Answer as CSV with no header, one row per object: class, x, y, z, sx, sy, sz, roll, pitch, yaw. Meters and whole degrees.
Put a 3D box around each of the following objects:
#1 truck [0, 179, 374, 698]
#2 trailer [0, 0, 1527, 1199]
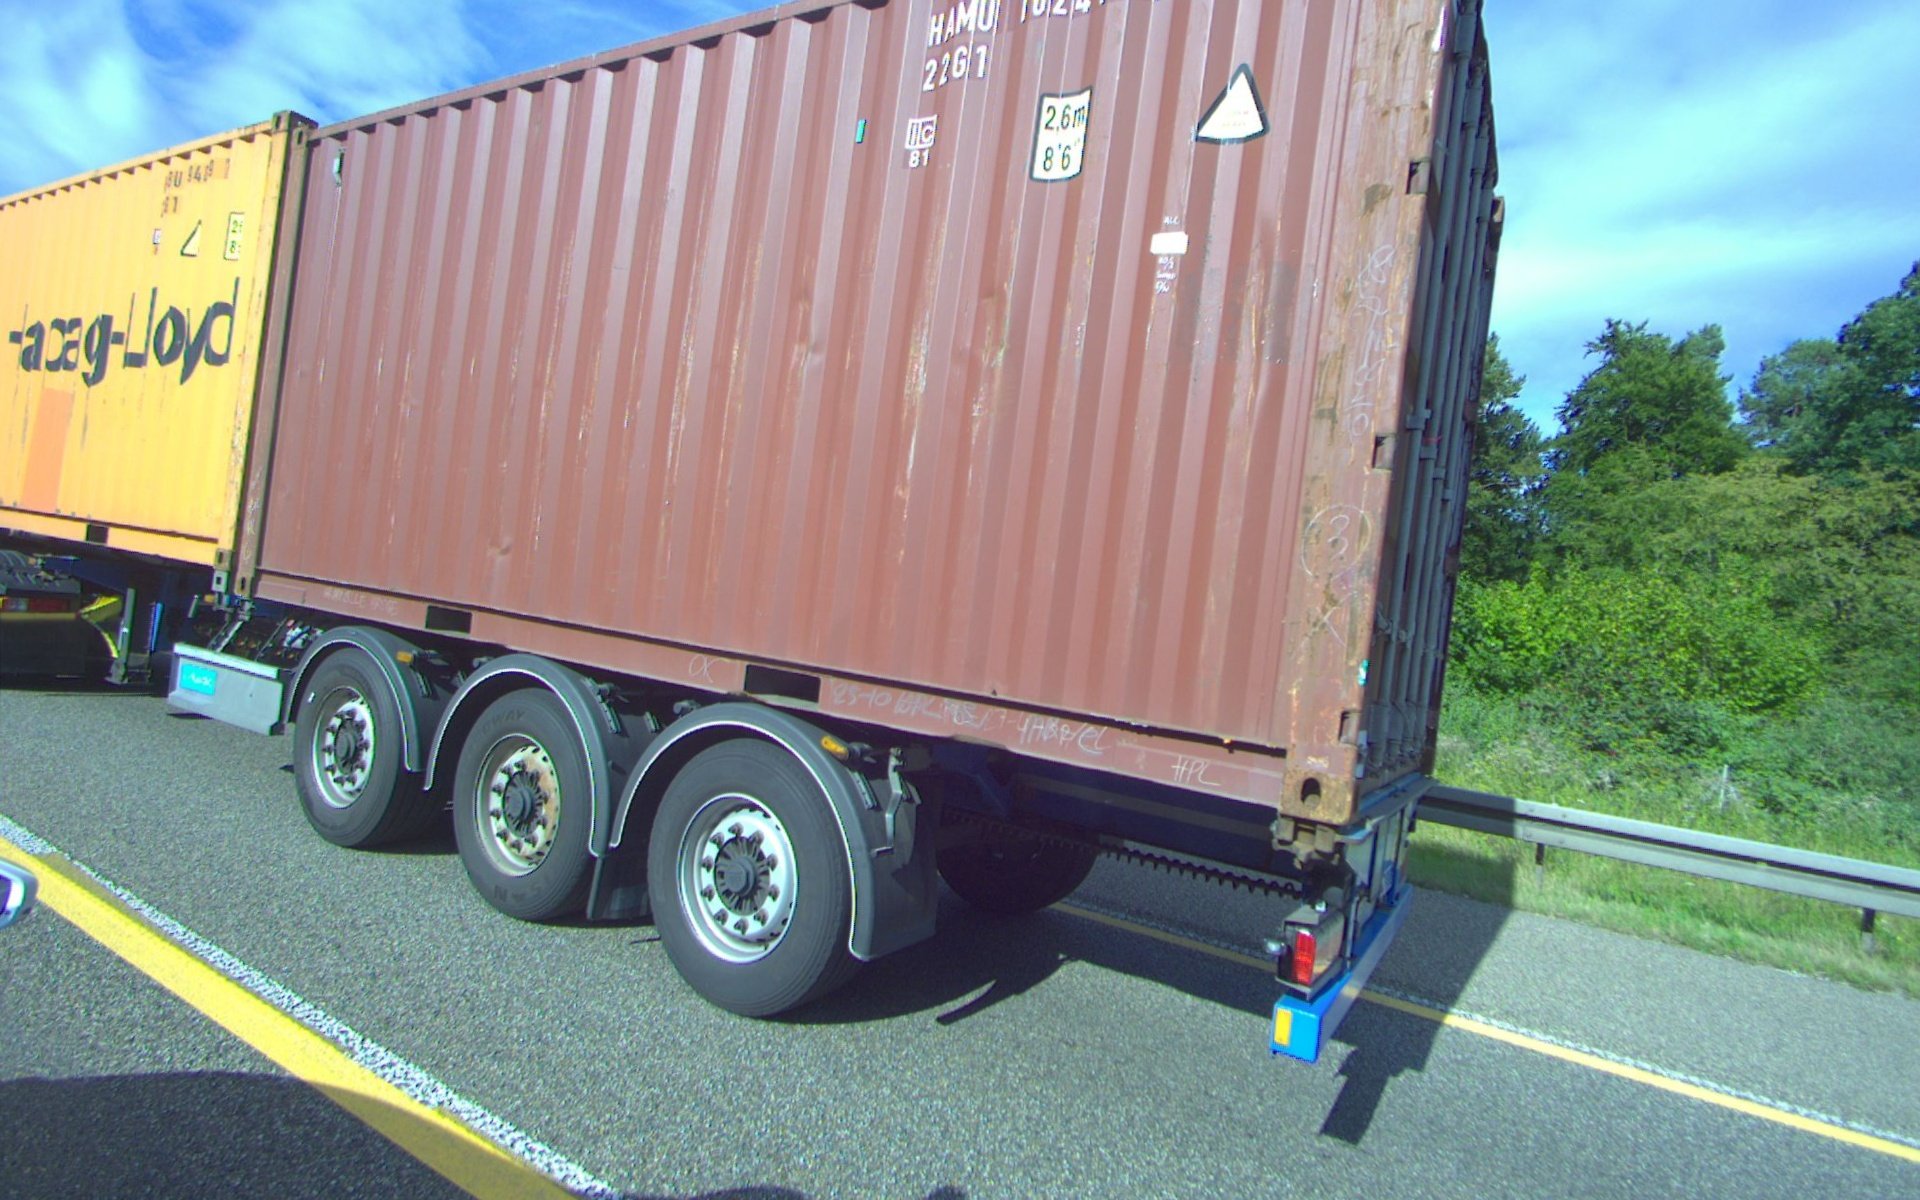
truck,-8.861,-1.358,9.923,5.692,3.825,2.500,7,-1,30
trailer,-3.313,-0.737,6.622,11.931,3.819,2.476,7,-1,31
